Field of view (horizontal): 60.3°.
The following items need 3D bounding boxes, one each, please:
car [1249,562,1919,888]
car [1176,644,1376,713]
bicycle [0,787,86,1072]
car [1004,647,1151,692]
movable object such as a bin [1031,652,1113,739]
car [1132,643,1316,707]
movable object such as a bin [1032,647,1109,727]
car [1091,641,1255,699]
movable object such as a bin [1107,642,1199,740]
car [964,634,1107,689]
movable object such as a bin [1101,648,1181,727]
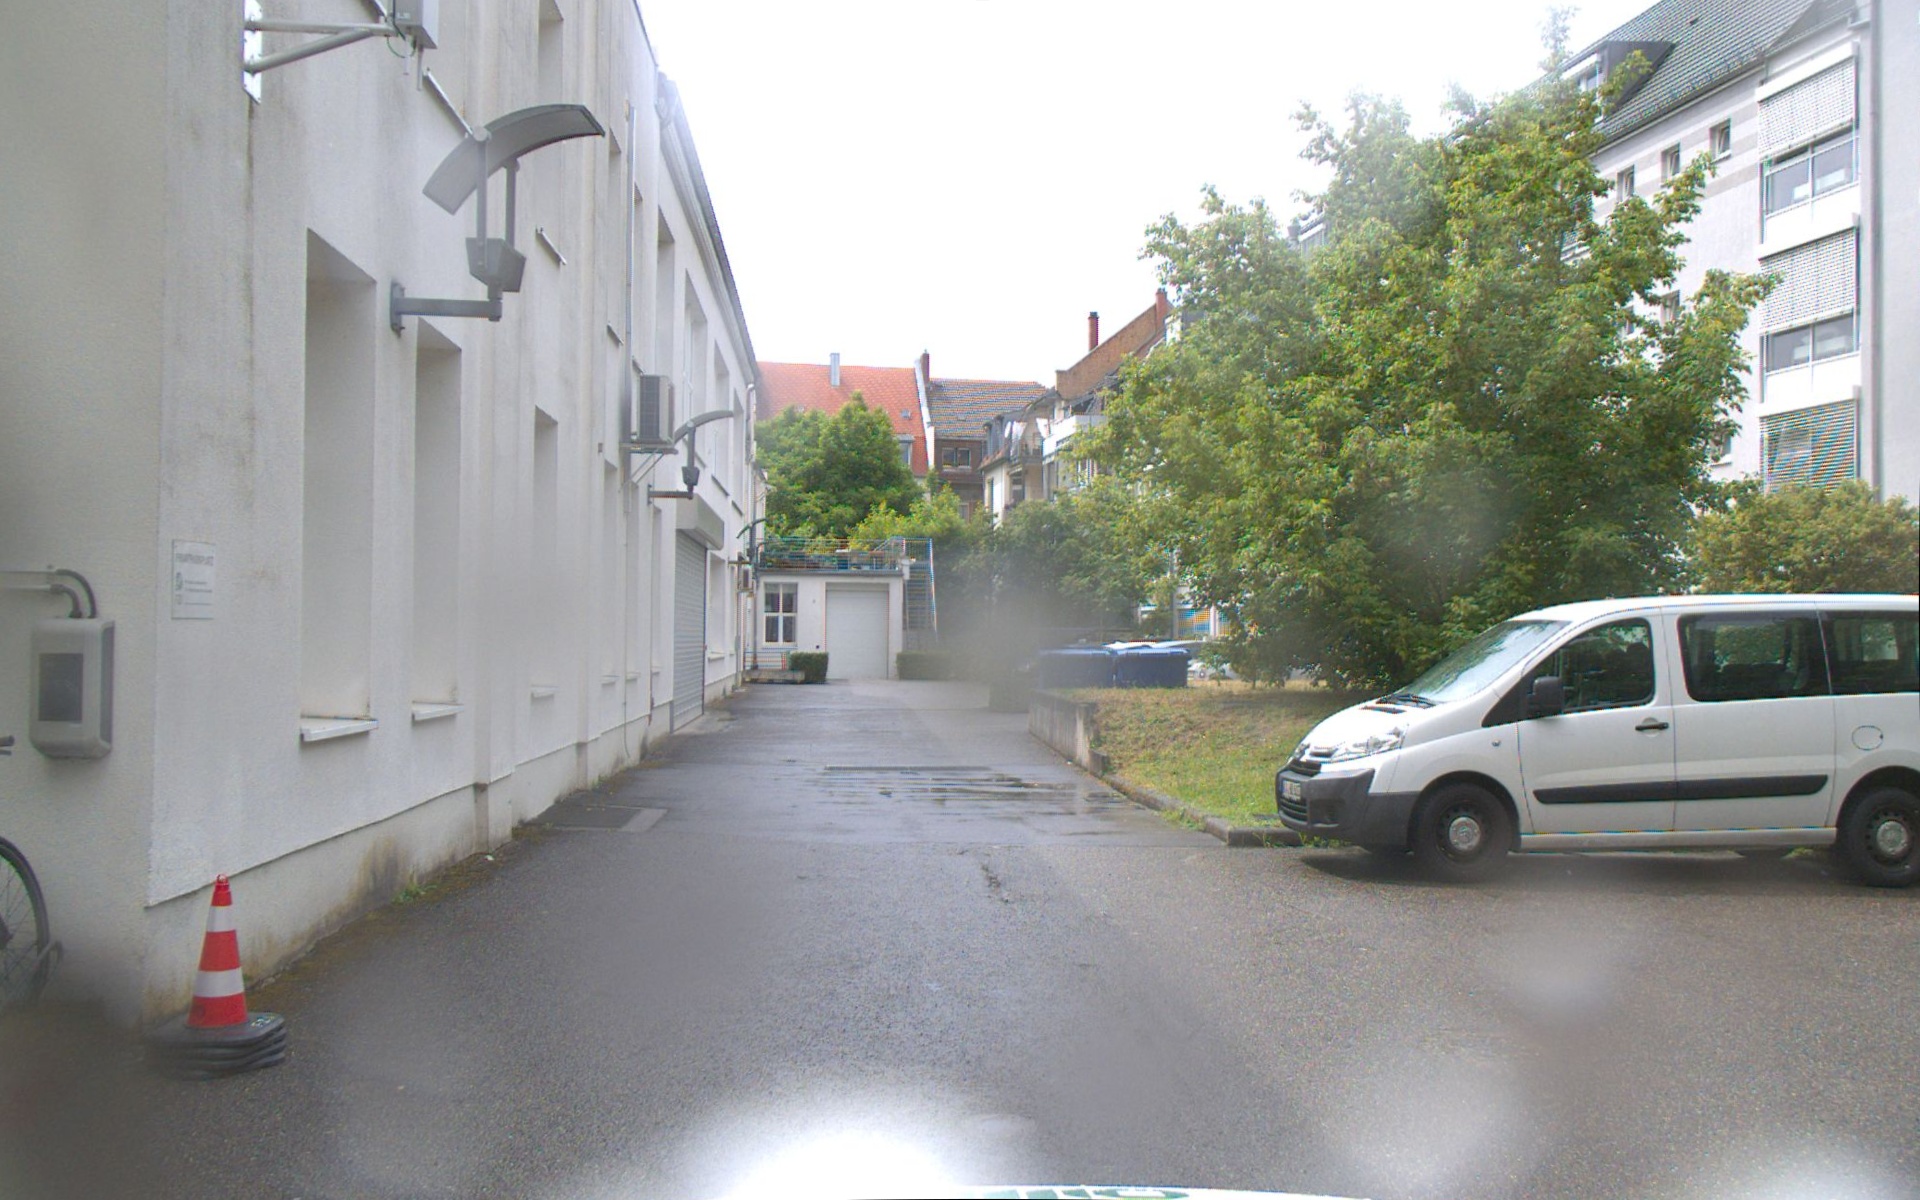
[{"bbox_3d":[4.691,0.866,11.883,4.837,2.049,1.999,1,-2,-2],"label":"car"},{"bbox_3d":[6.837,1.689,36.026,3.910,1.378,1.789,-1,-2,-6],"label":"car"},{"bbox_3d":[-3.110,1.026,4.521,0.443,0.813,2.055,2,-1,-4],"label":"bicycle"},{"bbox_3d":[3.678,2.177,51.994,4.276,1.372,1.855,1,-1,-12],"label":"car"},{"bbox_3d":[1.823,1.552,27.106,1.151,1.340,1.054,2,-1,-5],"label":"movable object such as a bin"},{"bbox_3d":[6.212,1.771,39.105,4.004,1.484,1.664,0,-3,-9],"label":"car"},{"bbox_3d":[1.919,1.503,28.869,1.205,1.340,1.054,0,-1,-5],"label":"movable object such as a bin"},{"bbox_3d":[5.682,1.852,44.270,4.022,1.481,1.829,0,-2,-9],"label":"car"},{"bbox_3d":[3.162,1.487,27.160,1.250,1.509,1.100,2,-1,-5],"label":"movable object such as a bin"},{"bbox_3d":[2.601,2.127,57.708,4.626,1.865,2.104,0,-2,-12],"label":"car"},{"bbox_3d":[3.161,1.527,29.007,1.205,1.340,1.054,0,-1,-5],"label":"movable object such as a bin"}]
